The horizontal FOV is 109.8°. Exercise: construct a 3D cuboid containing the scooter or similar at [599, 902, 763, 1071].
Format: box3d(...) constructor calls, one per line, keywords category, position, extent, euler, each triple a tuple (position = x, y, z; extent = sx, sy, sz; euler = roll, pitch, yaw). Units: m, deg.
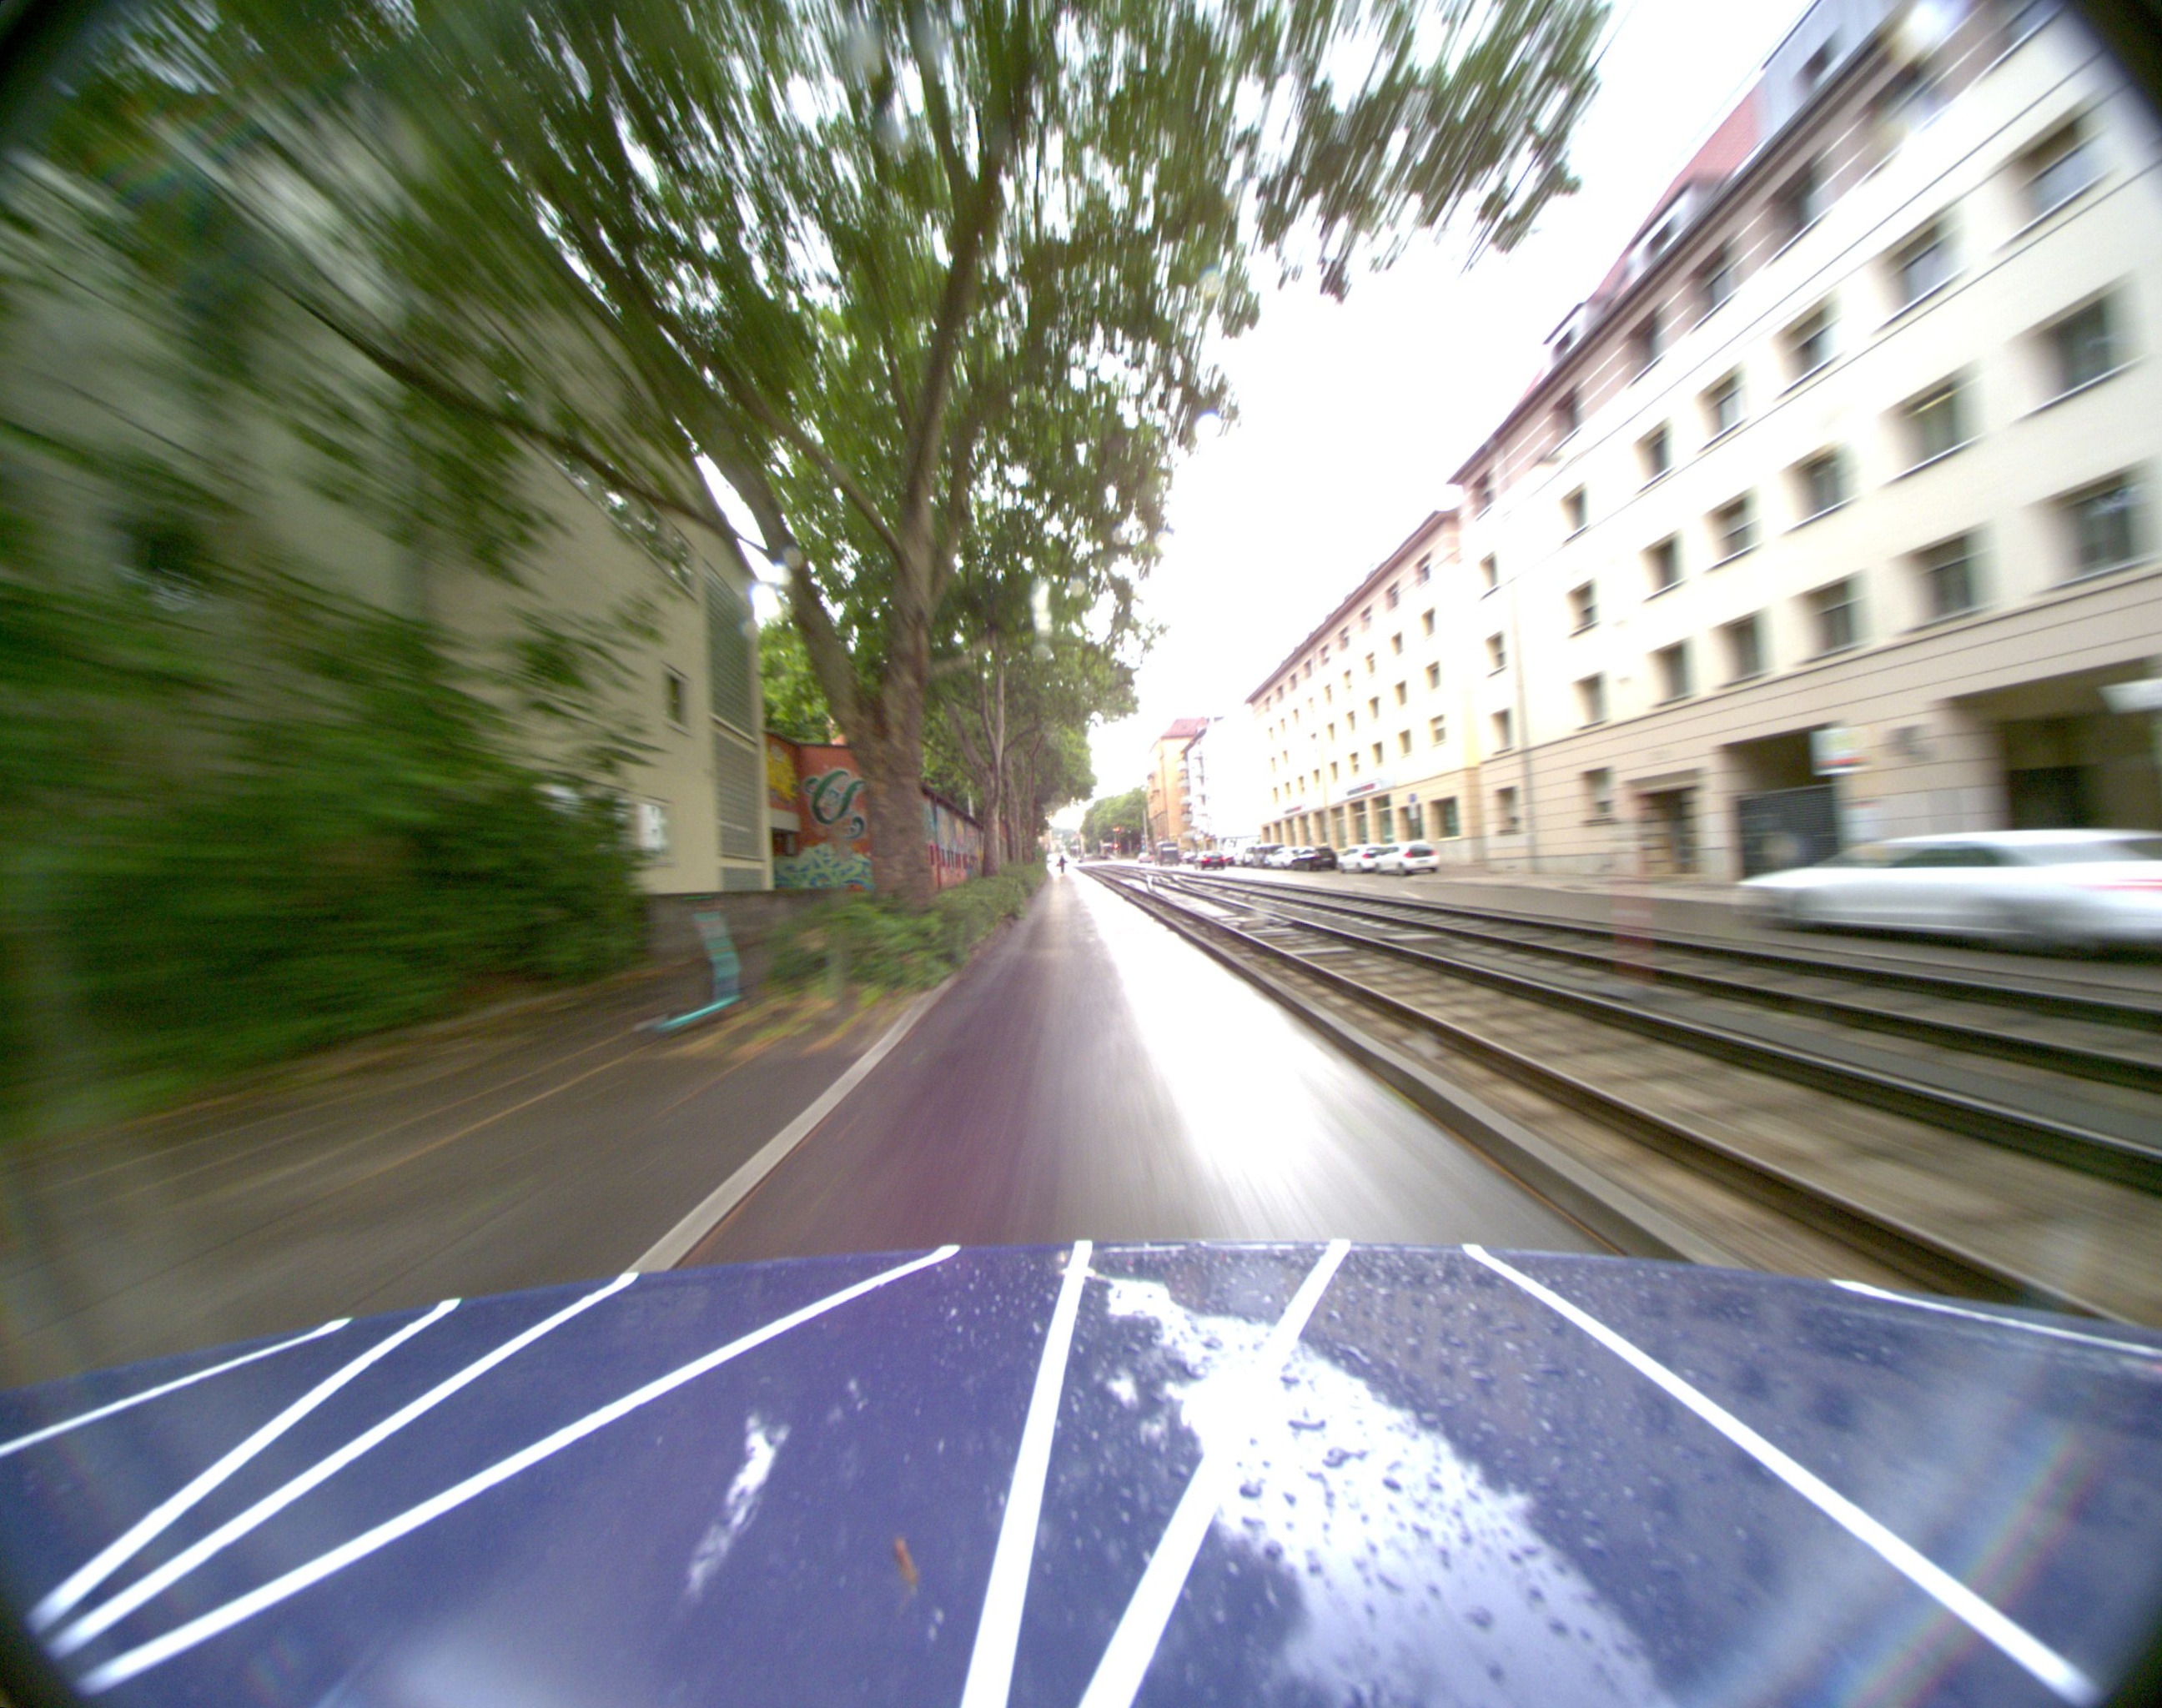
box3d(category="scooter or similar", position=(-3.464, 1.099, 6.711), extent=(0.400, 1.186, 1.363), euler=(-2, 3, 13))
